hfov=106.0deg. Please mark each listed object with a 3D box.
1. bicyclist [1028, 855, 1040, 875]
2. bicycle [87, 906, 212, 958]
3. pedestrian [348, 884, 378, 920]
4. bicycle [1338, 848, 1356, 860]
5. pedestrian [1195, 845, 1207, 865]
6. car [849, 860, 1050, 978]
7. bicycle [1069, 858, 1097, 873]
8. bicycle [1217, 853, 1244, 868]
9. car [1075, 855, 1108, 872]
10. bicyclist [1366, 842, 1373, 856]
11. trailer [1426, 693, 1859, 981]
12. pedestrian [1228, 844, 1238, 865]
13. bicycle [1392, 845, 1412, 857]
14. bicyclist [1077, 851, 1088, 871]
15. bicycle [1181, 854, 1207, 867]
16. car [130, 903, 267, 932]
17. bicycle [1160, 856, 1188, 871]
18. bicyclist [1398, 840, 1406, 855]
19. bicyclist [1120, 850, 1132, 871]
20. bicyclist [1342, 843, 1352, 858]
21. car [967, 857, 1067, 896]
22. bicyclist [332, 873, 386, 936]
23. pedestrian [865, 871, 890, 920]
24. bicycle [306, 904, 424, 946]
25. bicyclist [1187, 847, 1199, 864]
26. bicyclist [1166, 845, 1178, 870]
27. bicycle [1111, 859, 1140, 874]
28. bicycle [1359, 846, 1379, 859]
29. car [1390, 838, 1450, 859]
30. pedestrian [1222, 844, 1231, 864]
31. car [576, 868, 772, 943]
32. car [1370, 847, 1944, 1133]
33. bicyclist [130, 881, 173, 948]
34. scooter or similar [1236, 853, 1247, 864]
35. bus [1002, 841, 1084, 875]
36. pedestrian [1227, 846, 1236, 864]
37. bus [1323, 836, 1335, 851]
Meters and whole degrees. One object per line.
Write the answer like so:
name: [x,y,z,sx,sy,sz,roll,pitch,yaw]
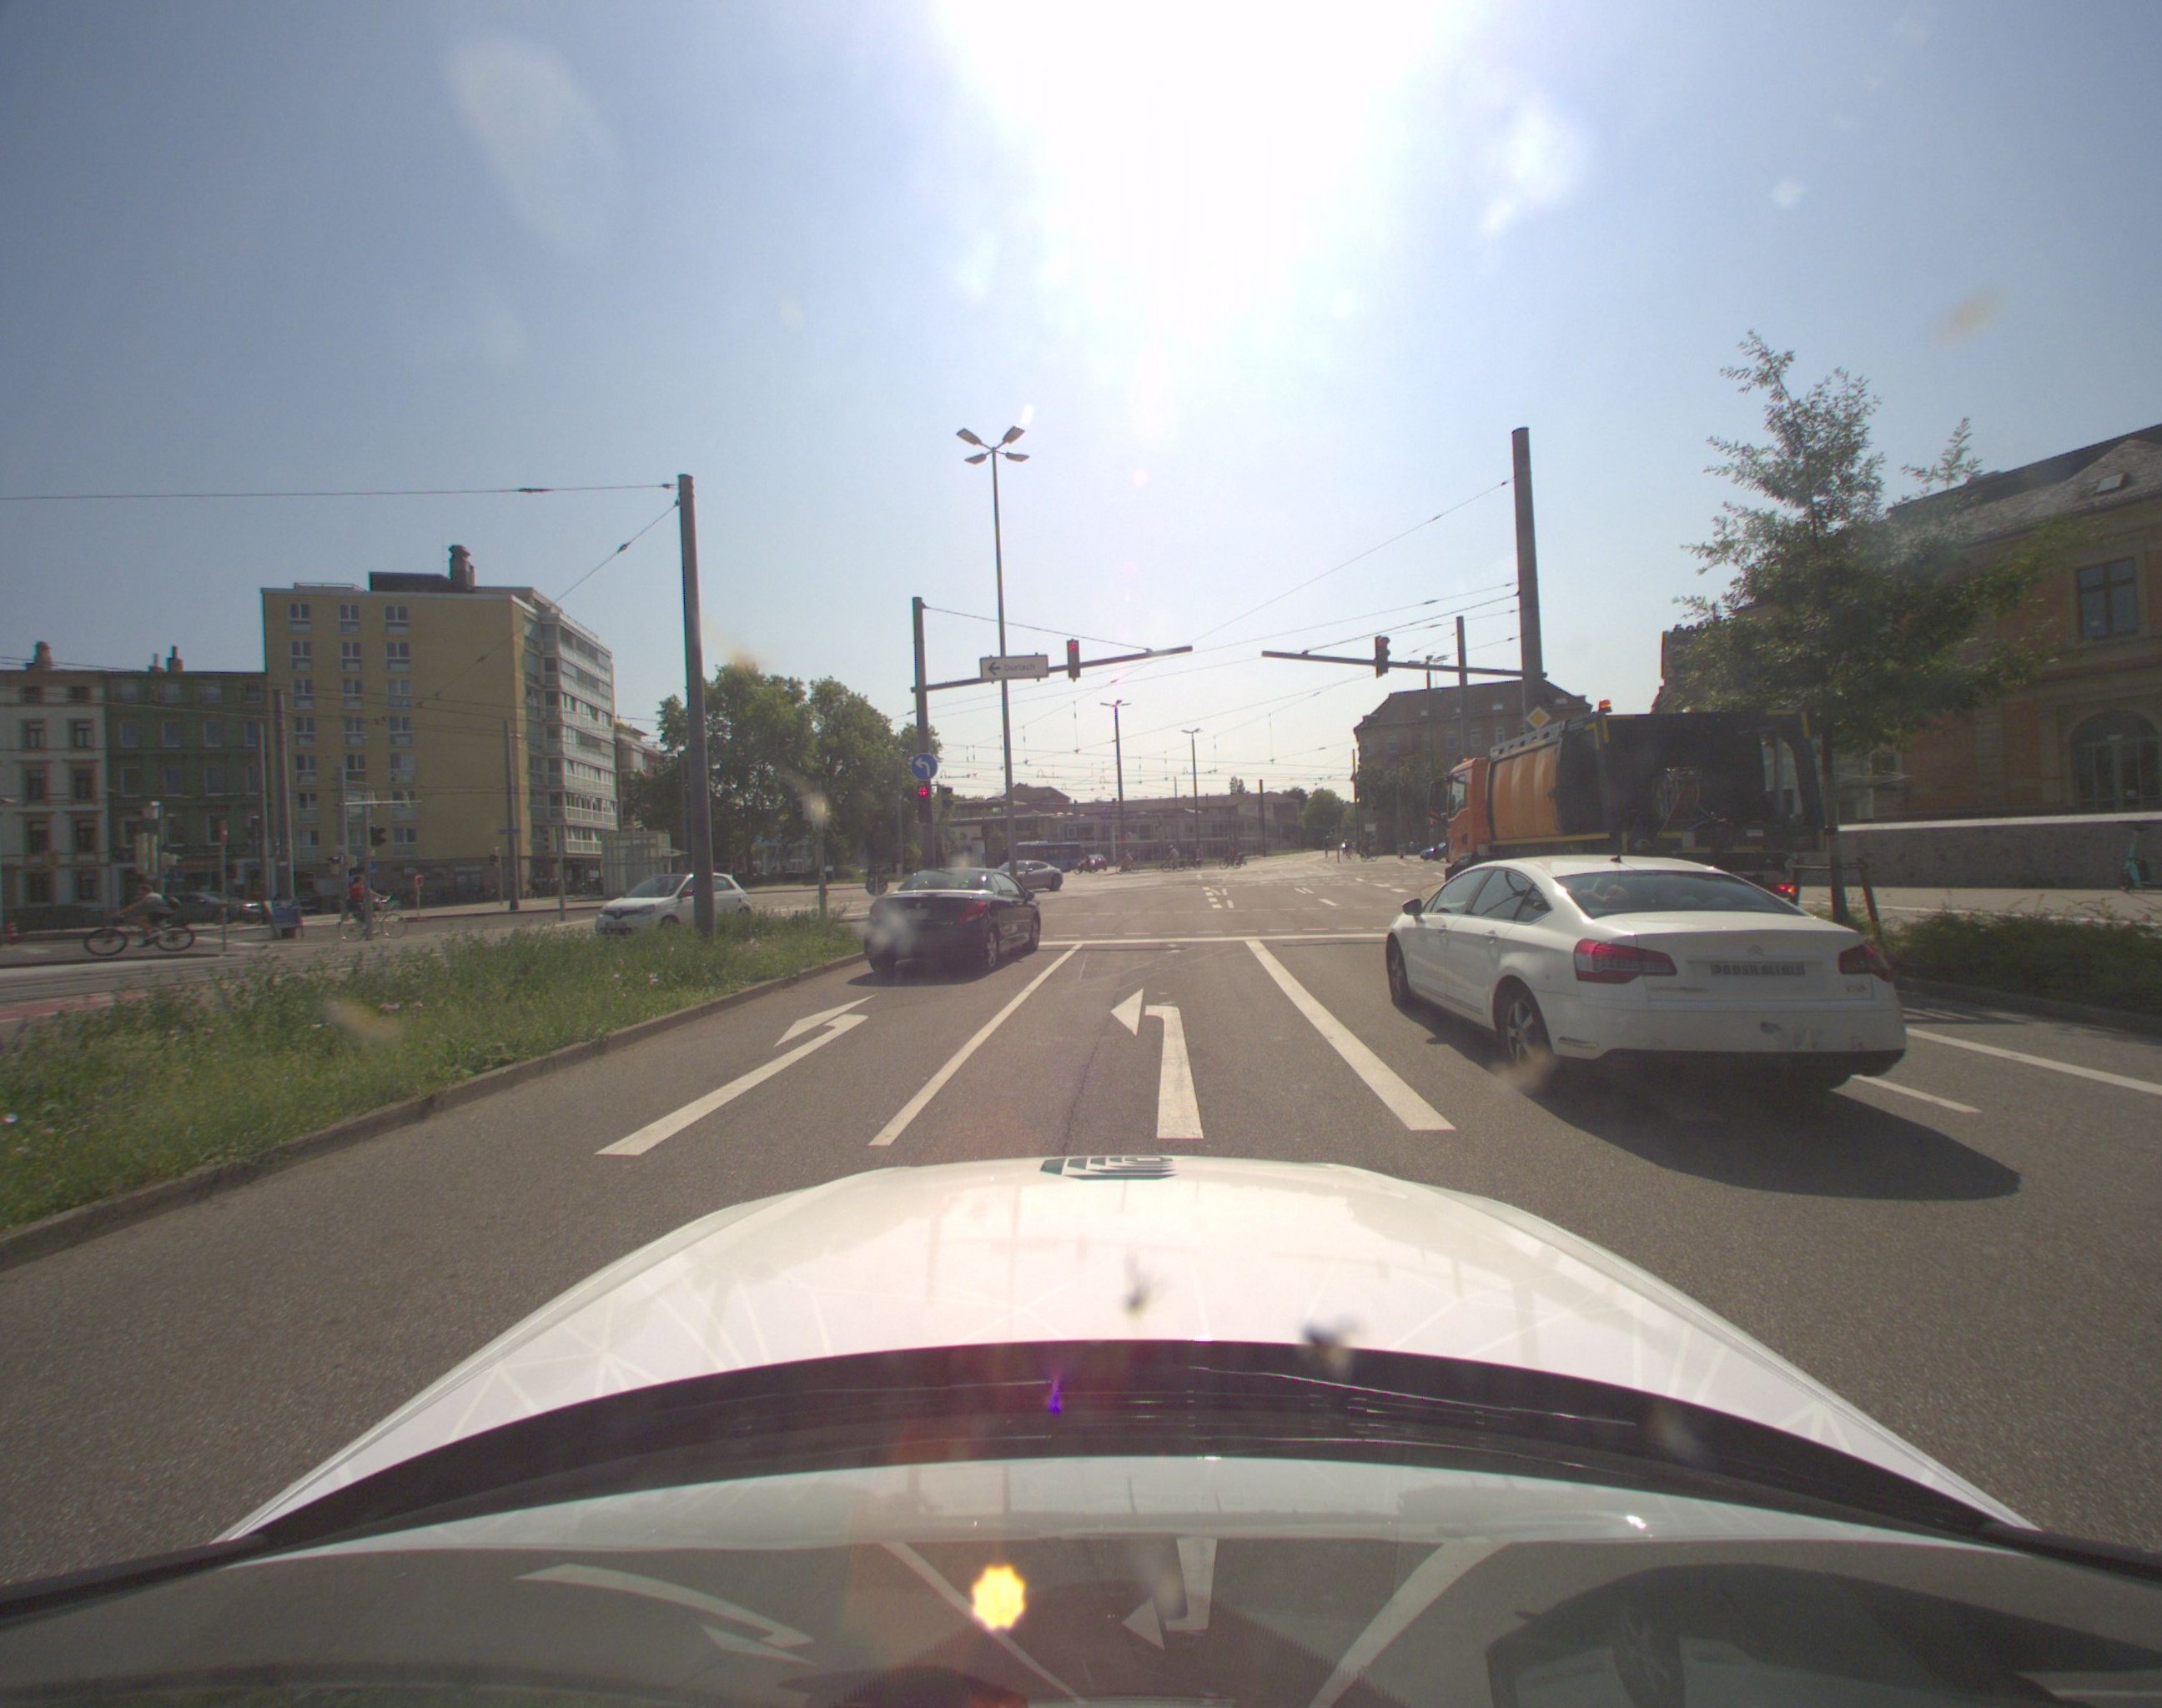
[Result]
bicyclist: [-3.860,0.907,66.342,0.799,1.541,0.759,-2,0,-13]
bicycle: [-24.097,1.985,21.103,0.689,1.137,2.057,-3,0,35]
pedestrian: [-33.122,2.205,37.568,0.649,1.633,0.811,-3,-1,-12]
bicycle: [23.938,-0.018,73.202,1.598,0.985,0.503,-2,0,-24]
pedestrian: [10.498,0.080,71.276,0.777,1.752,0.813,-3,0,20]
car: [-1.753,0.841,12.252,1.747,1.404,3.991,-2,0,10]
bicycle: [0.164,0.957,67.088,2.197,1.087,0.760,-2,0,-10]
bicycle: [11.517,0.485,62.557,1.965,1.018,0.717,-3,0,12]
car: [0.990,0.837,74.529,1.713,1.420,3.860,-3,0,20]
bicyclist: [24.843,-0.442,70.218,0.499,1.188,0.510,-3,-1,22]
trailer: [7.243,-0.170,11.772,2.450,3.007,6.337,-1,0,7]
pedestrian: [11.642,0.049,62.530,0.657,1.534,0.717,-3,0,12]
bicycle: [28.375,-0.248,71.936,1.576,0.985,0.510,-3,0,25]
bicyclist: [0.113,0.597,67.080,0.762,1.634,0.760,-2,0,-10]
bicycle: [9.258,0.549,66.969,1.984,1.018,0.710,-2,0,-20]
car: [-40.508,2.889,37.505,3.892,0.987,1.706,-3,0,-17]
bicycle: [6.952,0.729,60.898,1.975,1.018,0.713,-2,0,-6]
bicyclist: [28.363,-0.573,71.943,0.588,1.247,0.510,-3,-1,25]
bicyclist: [3.338,0.481,60.269,0.664,1.509,0.712,-2,0,-9]
bicyclist: [23.941,-0.310,73.215,0.597,1.247,0.503,-2,-1,-25]
car: [-2.674,0.936,35.148,1.921,1.400,4.616,-3,0,32]
bicyclist: [-19.802,1.367,22.355,0.839,1.642,0.604,-3,1,-13]
pedestrian: [-5.595,1.140,22.438,0.596,1.268,0.503,-3,2,-13]
bicycle: [-19.651,1.930,22.386,2.411,0.953,0.601,-3,-1,-13]
bicyclist: [9.187,0.124,66.952,0.670,1.350,0.707,-2,0,-19]
bicyclist: [6.823,0.257,60.883,0.703,1.764,0.713,-2,0,-6]
bicycle: [3.280,0.930,60.253,1.978,1.018,0.712,-2,0,-10]
bicycle: [24.802,-0.122,70.236,1.577,0.985,0.510,-3,0,21]
car: [26.352,-0.410,63.318,3.889,1.420,1.730,-3,0,-6]
pedestrian: [12.660,0.015,70.778,0.619,1.752,0.629,-2,0,4]
car: [-9.423,1.140,19.258,1.756,1.425,4.085,-3,0,17]
car: [3.742,0.709,6.429,1.749,1.455,4.433,-2,0,6]
bicyclist: [-24.110,1.558,21.126,0.684,1.650,0.623,-3,-1,36]
scooter or similar: [14.136,0.376,71.785,0.832,0.974,0.793,-3,0,4]
bus: [-3.392,0.255,77.933,3.027,2.931,11.916,-3,0,22]
pedestrian: [13.278,0.118,71.793,0.632,1.561,0.748,-2,0,4]
bus: [60.048,-2.511,197.204,2.541,3.505,7.837,-3,0,17]
